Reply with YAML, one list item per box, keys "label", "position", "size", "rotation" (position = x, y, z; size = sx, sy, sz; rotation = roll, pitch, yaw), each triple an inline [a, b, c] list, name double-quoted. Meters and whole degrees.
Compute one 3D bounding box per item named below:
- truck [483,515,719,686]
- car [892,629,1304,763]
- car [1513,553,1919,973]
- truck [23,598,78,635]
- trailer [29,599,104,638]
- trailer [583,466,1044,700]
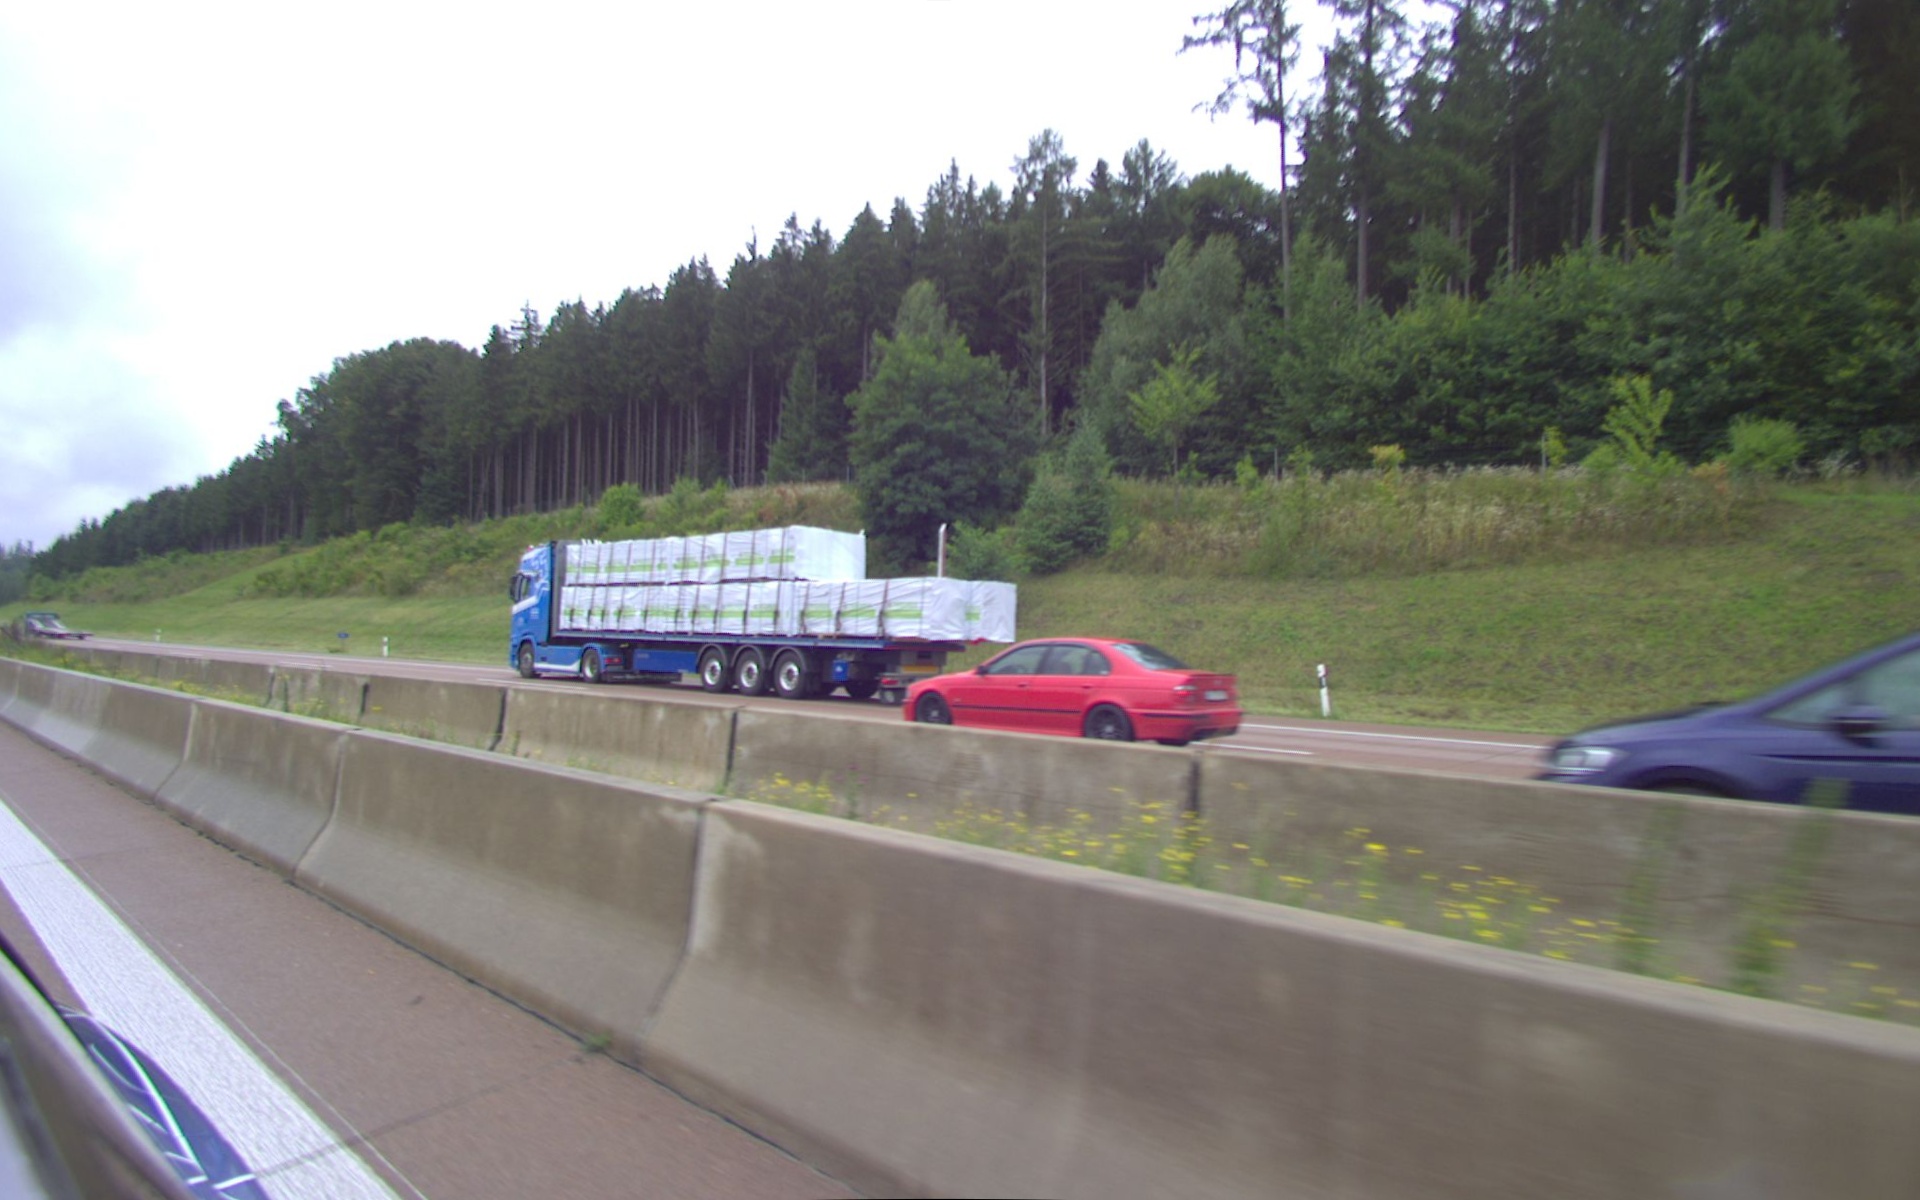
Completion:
- label: "truck"
  position: [-10.616, 0.214, 29.552]
  size: [7.644, 4.354, 2.934]
  rotation: [-2, -6, 41]
- label: "car"
  position: [1.576, 1.078, 13.024]
  size: [5.111, 1.380, 1.800]
  rotation: [-1, -2, 41]
- label: "car"
  position: [5.949, 0.712, 4.171]
  size: [6.234, 1.855, 1.800]
  rotation: [0, 1, 41]
- label: "truck"
  position: [-82.130, 1.455, 91.334]
  size: [6.491, 3.196, 2.834]
  rotation: [0, 1, 41]
- label: "trailer"
  position: [-76.624, 1.510, 86.631]
  size: [14.427, 3.020, 2.809]
  rotation: [0, 1, 41]
- label: "trailer"
  position: [-4.143, -0.057, 23.942]
  size: [12.936, 4.309, 2.903]
  rotation: [-2, -5, 41]
